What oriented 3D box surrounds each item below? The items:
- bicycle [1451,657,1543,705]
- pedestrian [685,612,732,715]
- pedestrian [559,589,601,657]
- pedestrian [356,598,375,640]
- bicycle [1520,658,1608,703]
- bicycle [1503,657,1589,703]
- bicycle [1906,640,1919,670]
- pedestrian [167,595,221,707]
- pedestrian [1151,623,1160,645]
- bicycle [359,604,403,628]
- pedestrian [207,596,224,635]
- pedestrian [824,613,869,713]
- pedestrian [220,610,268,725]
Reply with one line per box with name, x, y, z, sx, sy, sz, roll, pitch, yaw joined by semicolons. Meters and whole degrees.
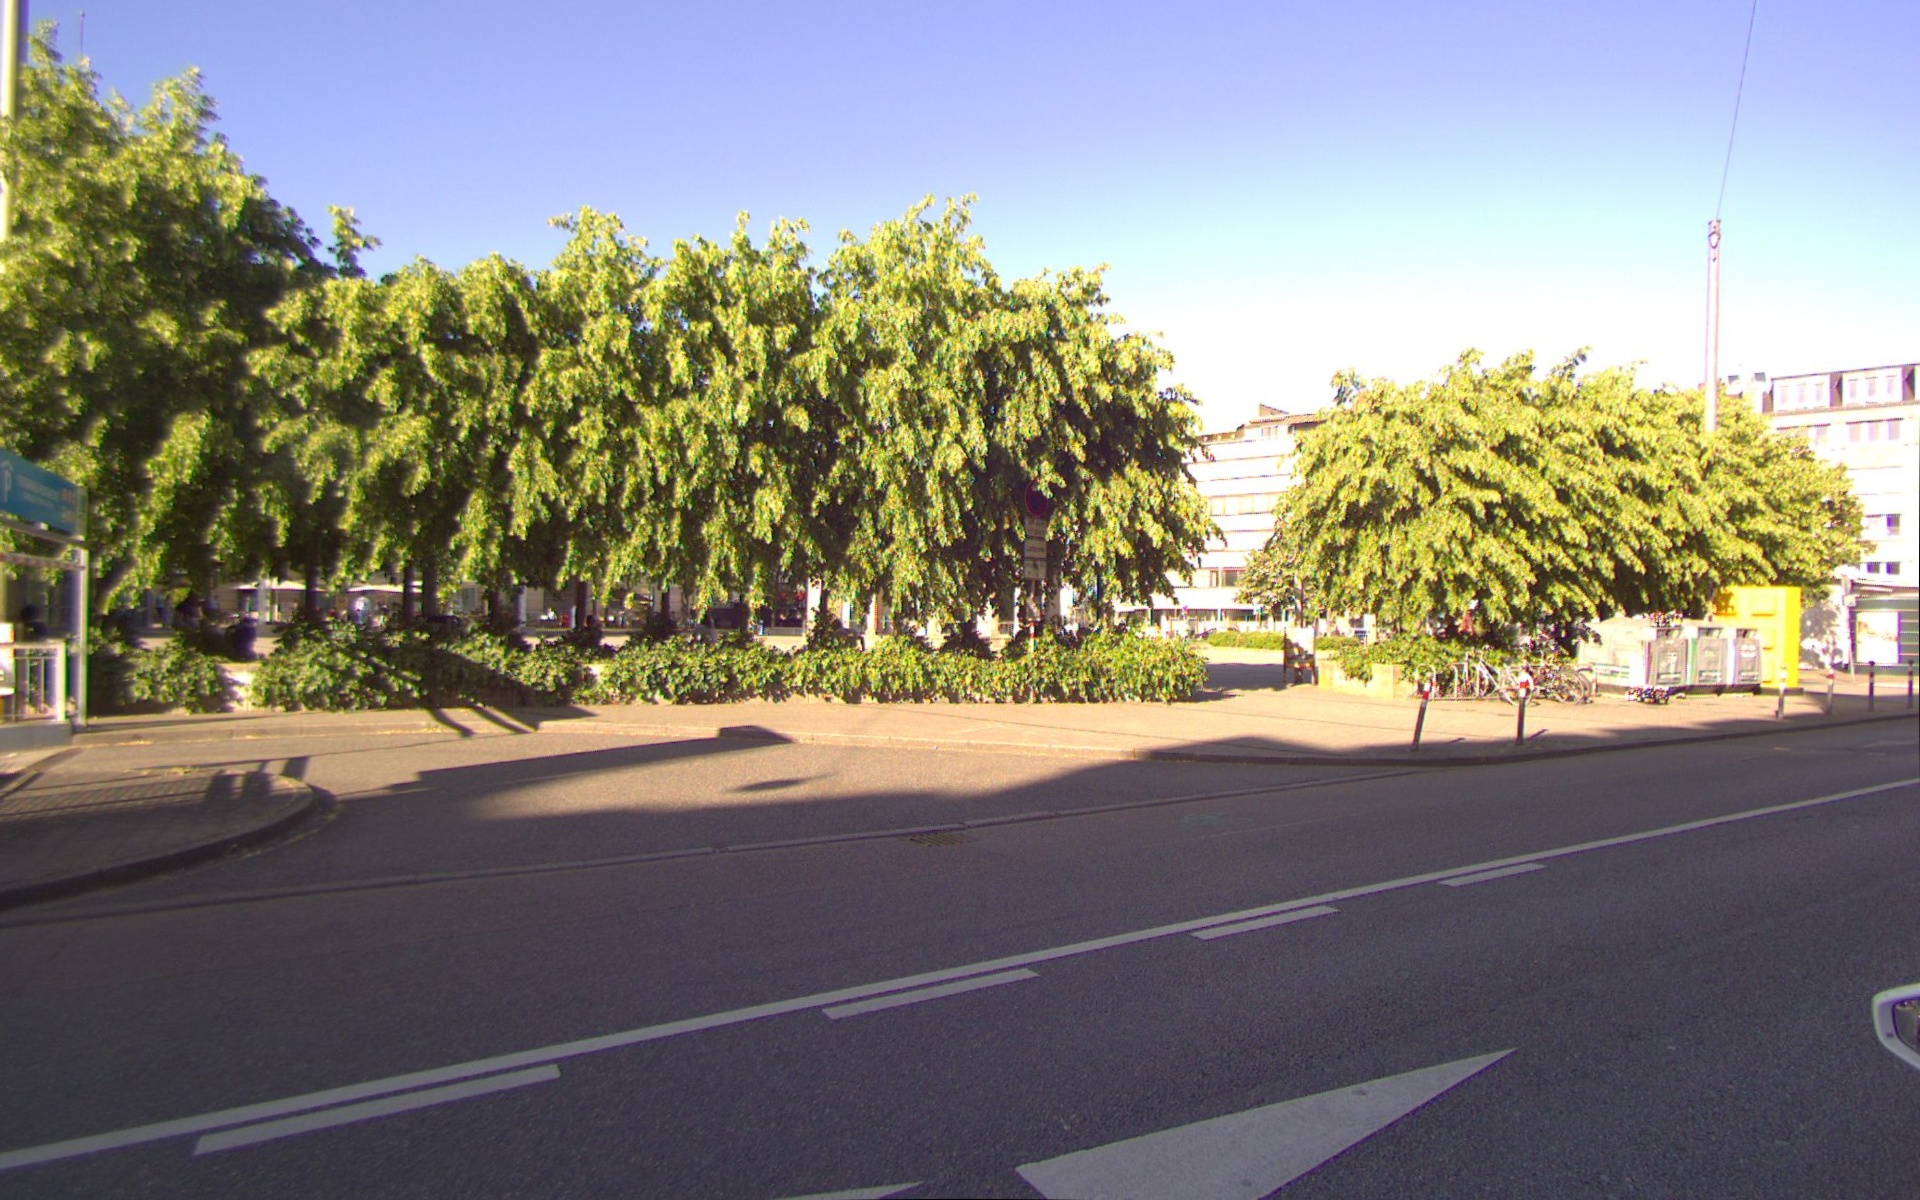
bicycle;10.208;1.529;19.156;0.467;0.779;1.654;1;0;-20
pedestrian;-4.726;1.175;18.869;0.722;1.881;0.578;1;0;-27
pedestrian;-10.142;0.621;26.807;0.918;1.775;0.728;1;0;-14
pedestrian;-26.421;0.848;44.629;0.597;1.816;0.575;1;0;-44
bicycle;11.971;1.575;19.942;0.468;0.779;1.468;2;0;-26
bicycle;11.469;1.552;19.708;0.435;0.779;1.469;1;0;-25
bicycle;36.926;2.084;37.601;0.796;1.119;2.073;1;-1;-29
pedestrian;-13.241;0.870;17.359;0.672;1.881;0.576;1;0;-41
pedestrian;16.928;2.946;86.908;0.591;1.816;0.581;1;0;-12
bicycle;-26.995;0.735;46.845;2.018;1.030;0.504;1;0;16
pedestrian;-35.070;0.714;47.326;0.596;1.816;0.576;1;0;-40
pedestrian;-2.208;1.211;19.560;0.574;1.881;0.598;1;0;41
pedestrian;-12.085;1.121;16.959;0.595;1.881;0.577;1;0;-33
